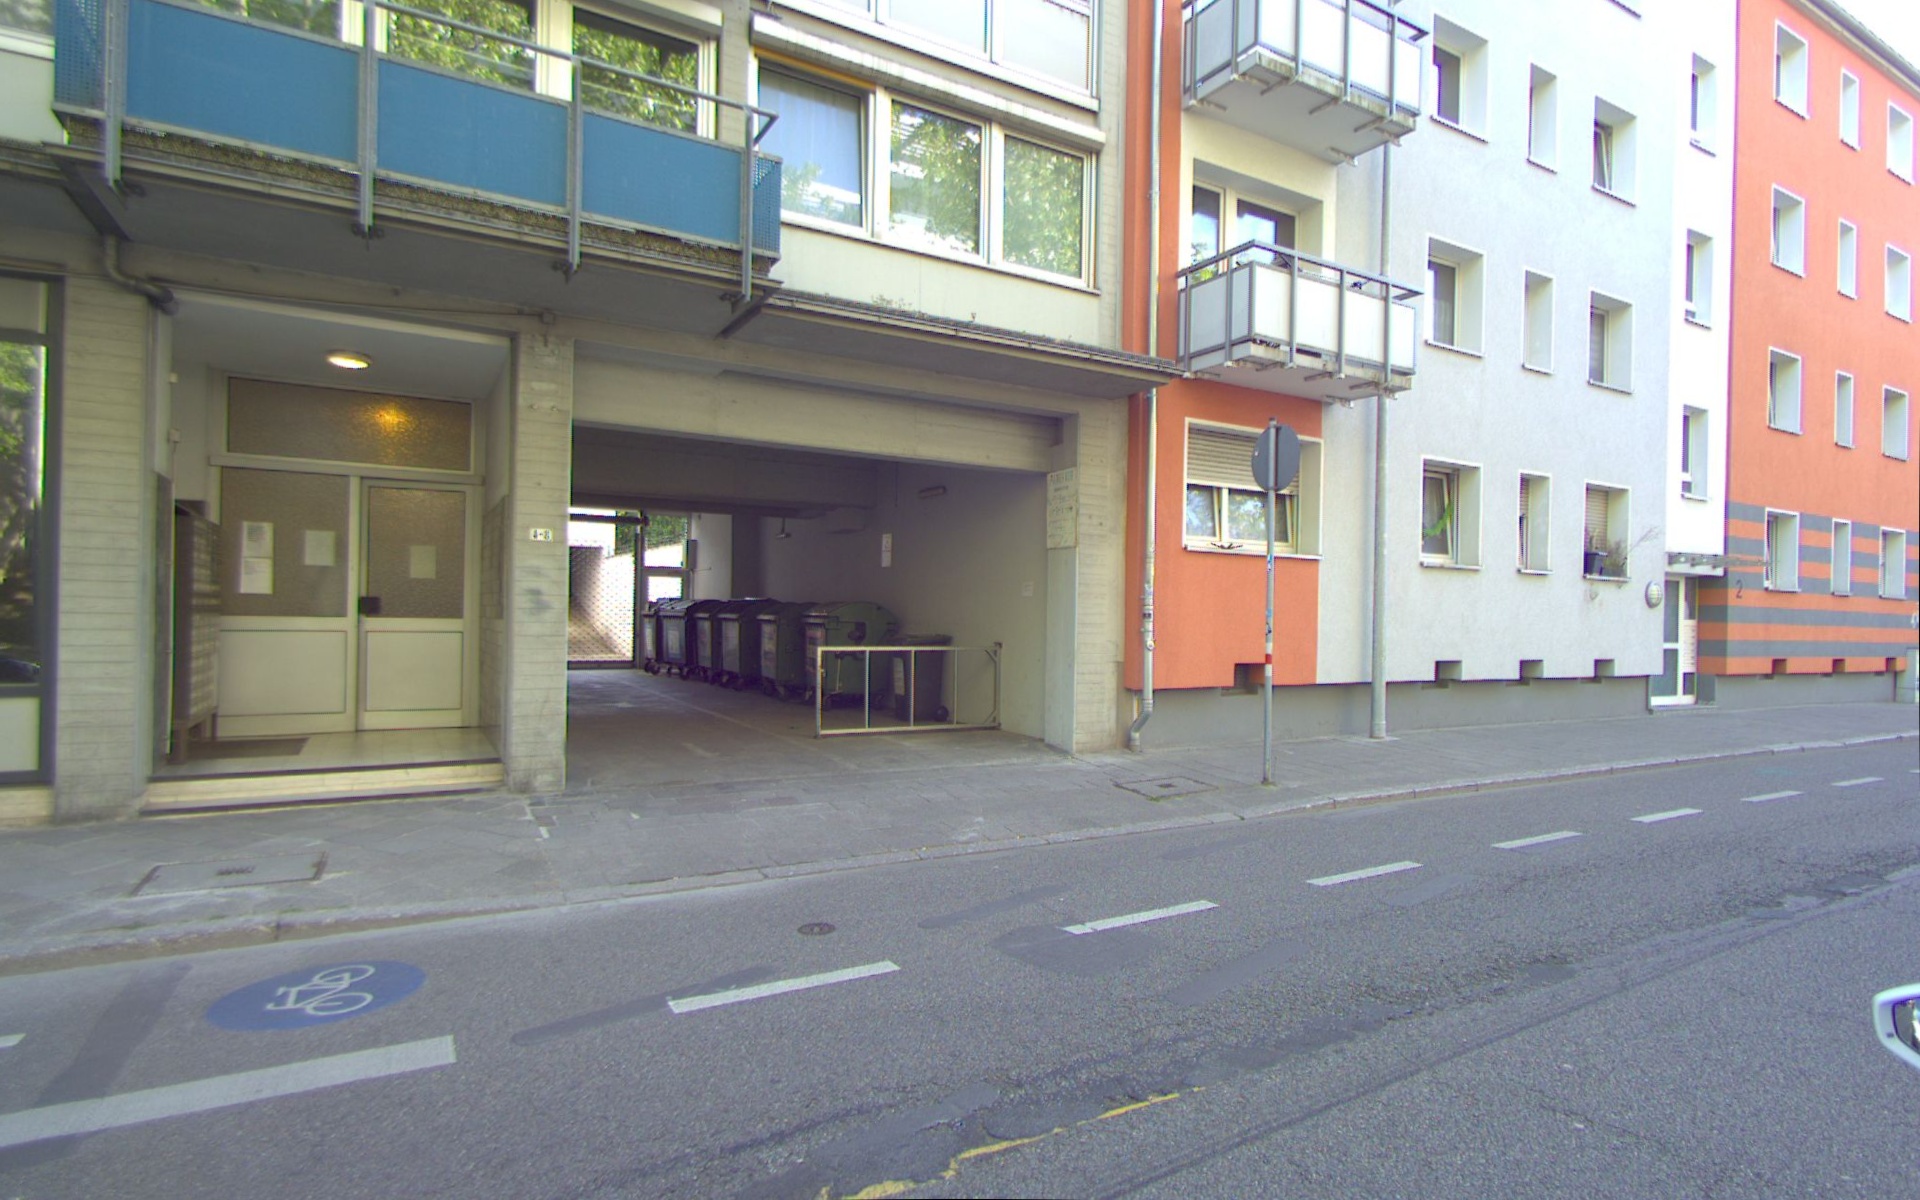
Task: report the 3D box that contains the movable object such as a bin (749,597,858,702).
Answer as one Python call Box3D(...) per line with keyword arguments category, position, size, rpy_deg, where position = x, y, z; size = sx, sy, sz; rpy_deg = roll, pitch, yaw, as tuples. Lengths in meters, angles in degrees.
Box3D(category="movable object such as a bin", position=(-2.370, 0.732, 15.170), size=(1.264, 1.493, 1.265), rpy_deg=(2, -1, -28))

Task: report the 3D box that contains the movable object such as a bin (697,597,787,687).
Box3D(category="movable object such as a bin", position=(-3.870, 0.725, 17.755), size=(1.264, 1.515, 1.155), rpy_deg=(2, 0, -28))

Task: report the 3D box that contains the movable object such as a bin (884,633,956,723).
Box3D(category="movable object such as a bin", position=(-0.505, 0.957, 12.465), size=(0.694, 1.061, 0.567), rpy_deg=(2, 0, -28))

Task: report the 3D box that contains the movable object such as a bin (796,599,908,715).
Box3D(category="movable object such as a bin", position=(-1.505, 0.752, 13.817), size=(1.128, 1.484, 1.255), rpy_deg=(2, 0, -28))

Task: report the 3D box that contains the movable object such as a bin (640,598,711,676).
Box3D(category="movable object such as a bin", position=(-5.654, 0.728, 19.953), size=(1.128, 1.484, 1.129), rpy_deg=(2, 0, -28))

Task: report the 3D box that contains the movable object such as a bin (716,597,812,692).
Box3D(category="movable object such as a bin", position=(-3.268, 0.724, 16.707), size=(1.264, 1.506, 1.155), rpy_deg=(2, 0, -28))

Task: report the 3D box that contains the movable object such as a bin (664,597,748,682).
Box3D(category="movable object such as a bin", position=(-4.735, 0.718, 18.698), size=(1.264, 1.506, 1.155), rpy_deg=(2, 0, -28))
